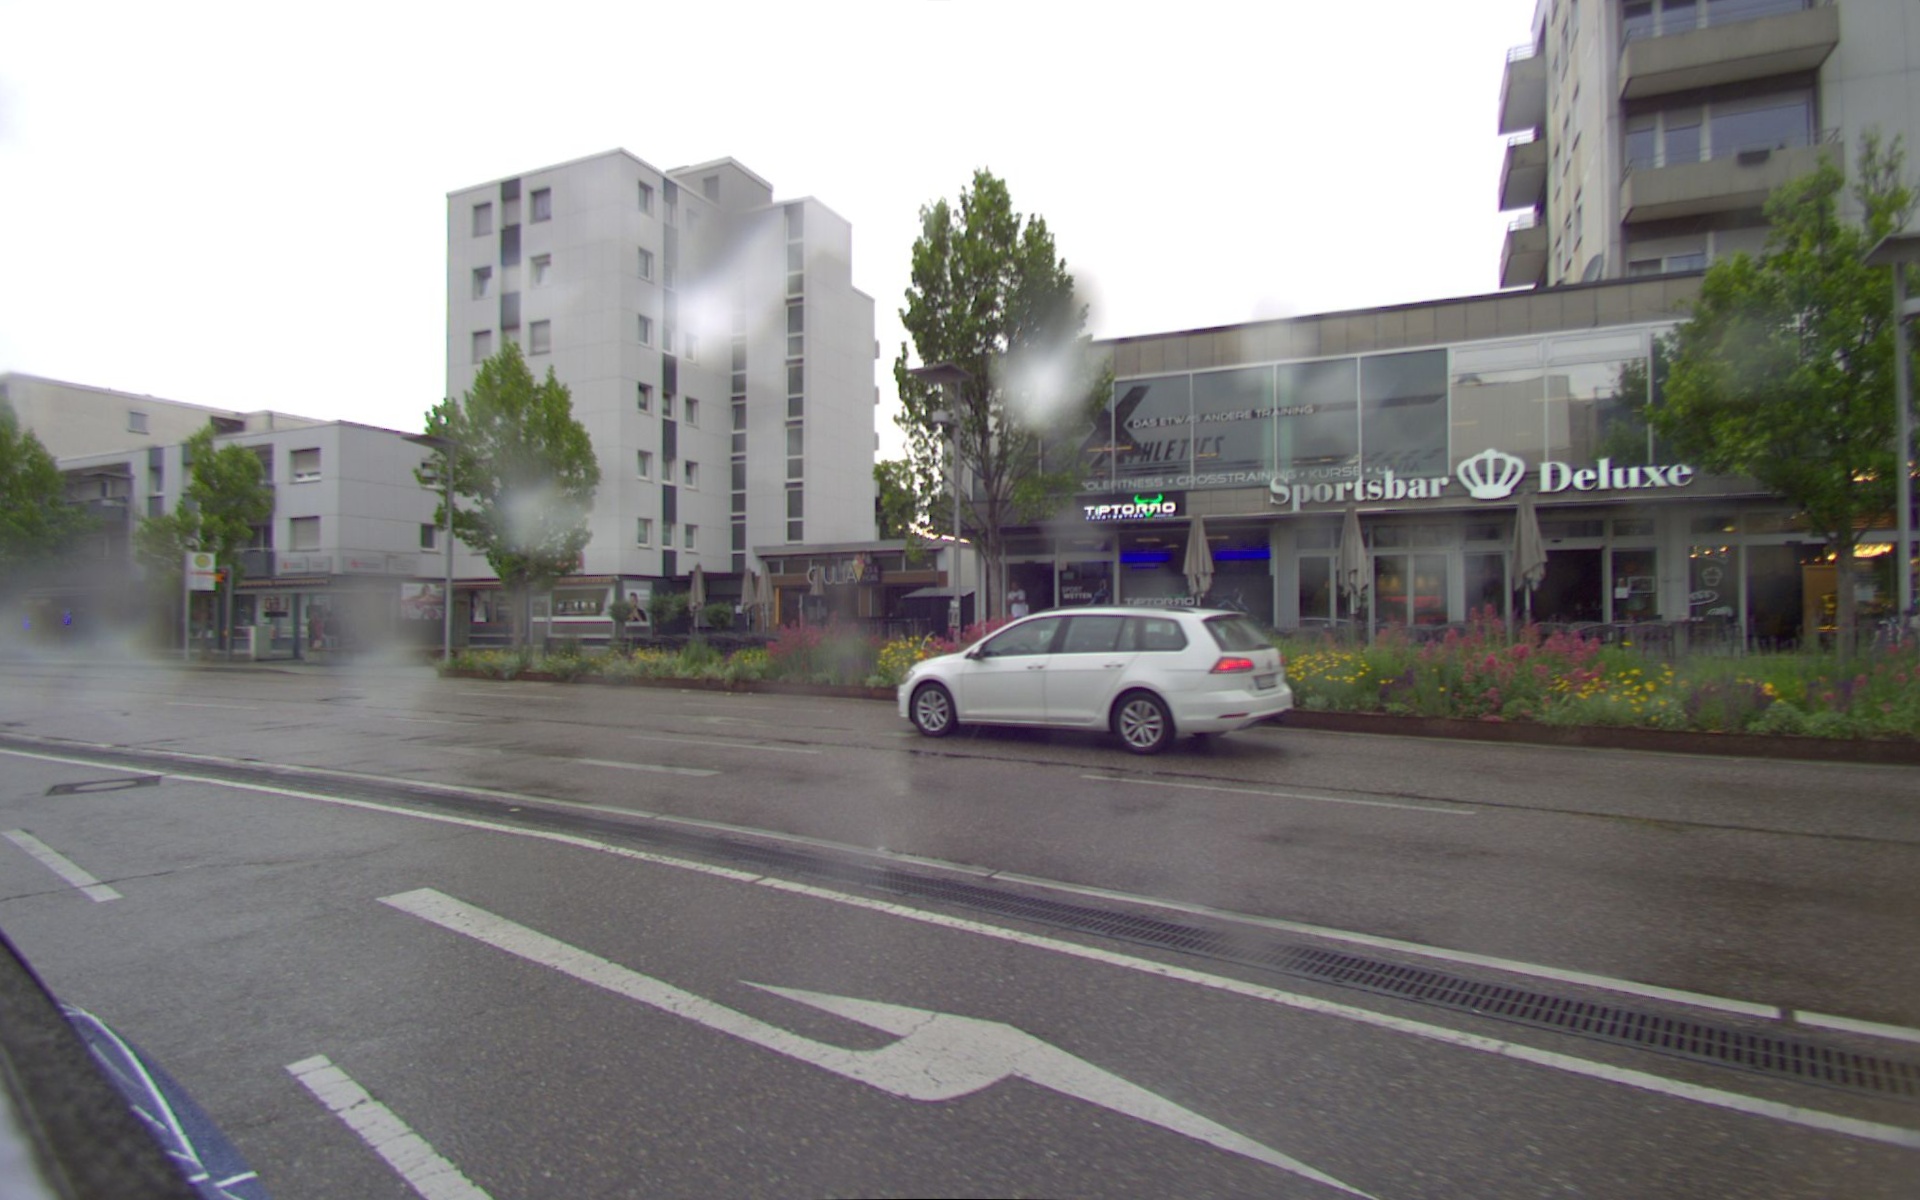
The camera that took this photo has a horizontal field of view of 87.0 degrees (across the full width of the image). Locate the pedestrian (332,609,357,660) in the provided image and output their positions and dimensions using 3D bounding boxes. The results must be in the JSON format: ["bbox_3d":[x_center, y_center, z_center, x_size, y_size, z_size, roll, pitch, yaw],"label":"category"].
[{"bbox_3d":[-20.404,1.128,33.540,0.477,1.672,0.531,-1,-1,30],"label":"pedestrian"}]

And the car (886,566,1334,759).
[{"bbox_3d":[1.493,0.583,11.041,4.499,1.695,1.868,-1,-1,38],"label":"car"}]

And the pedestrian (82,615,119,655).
[{"bbox_3d":[-36.856,1.485,43.395,0.722,1.658,1.002,-1,-1,23],"label":"pedestrian"}]

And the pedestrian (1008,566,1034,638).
[{"bbox_3d":[1.583,0.051,26.356,0.500,1.862,0.422,-1,-1,34],"label":"pedestrian"}]

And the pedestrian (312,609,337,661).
[{"bbox_3d":[-20.629,1.130,32.862,0.533,1.672,0.475,-1,-1,25],"label":"pedestrian"}]

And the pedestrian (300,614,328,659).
[{"bbox_3d":[-22.181,1.253,34.747,0.607,1.516,0.536,-1,-1,1],"label":"pedestrian"}]

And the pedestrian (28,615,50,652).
[{"bbox_3d":[-43.951,1.607,48.297,0.677,1.763,0.545,-2,-1,26],"label":"pedestrian"}]
